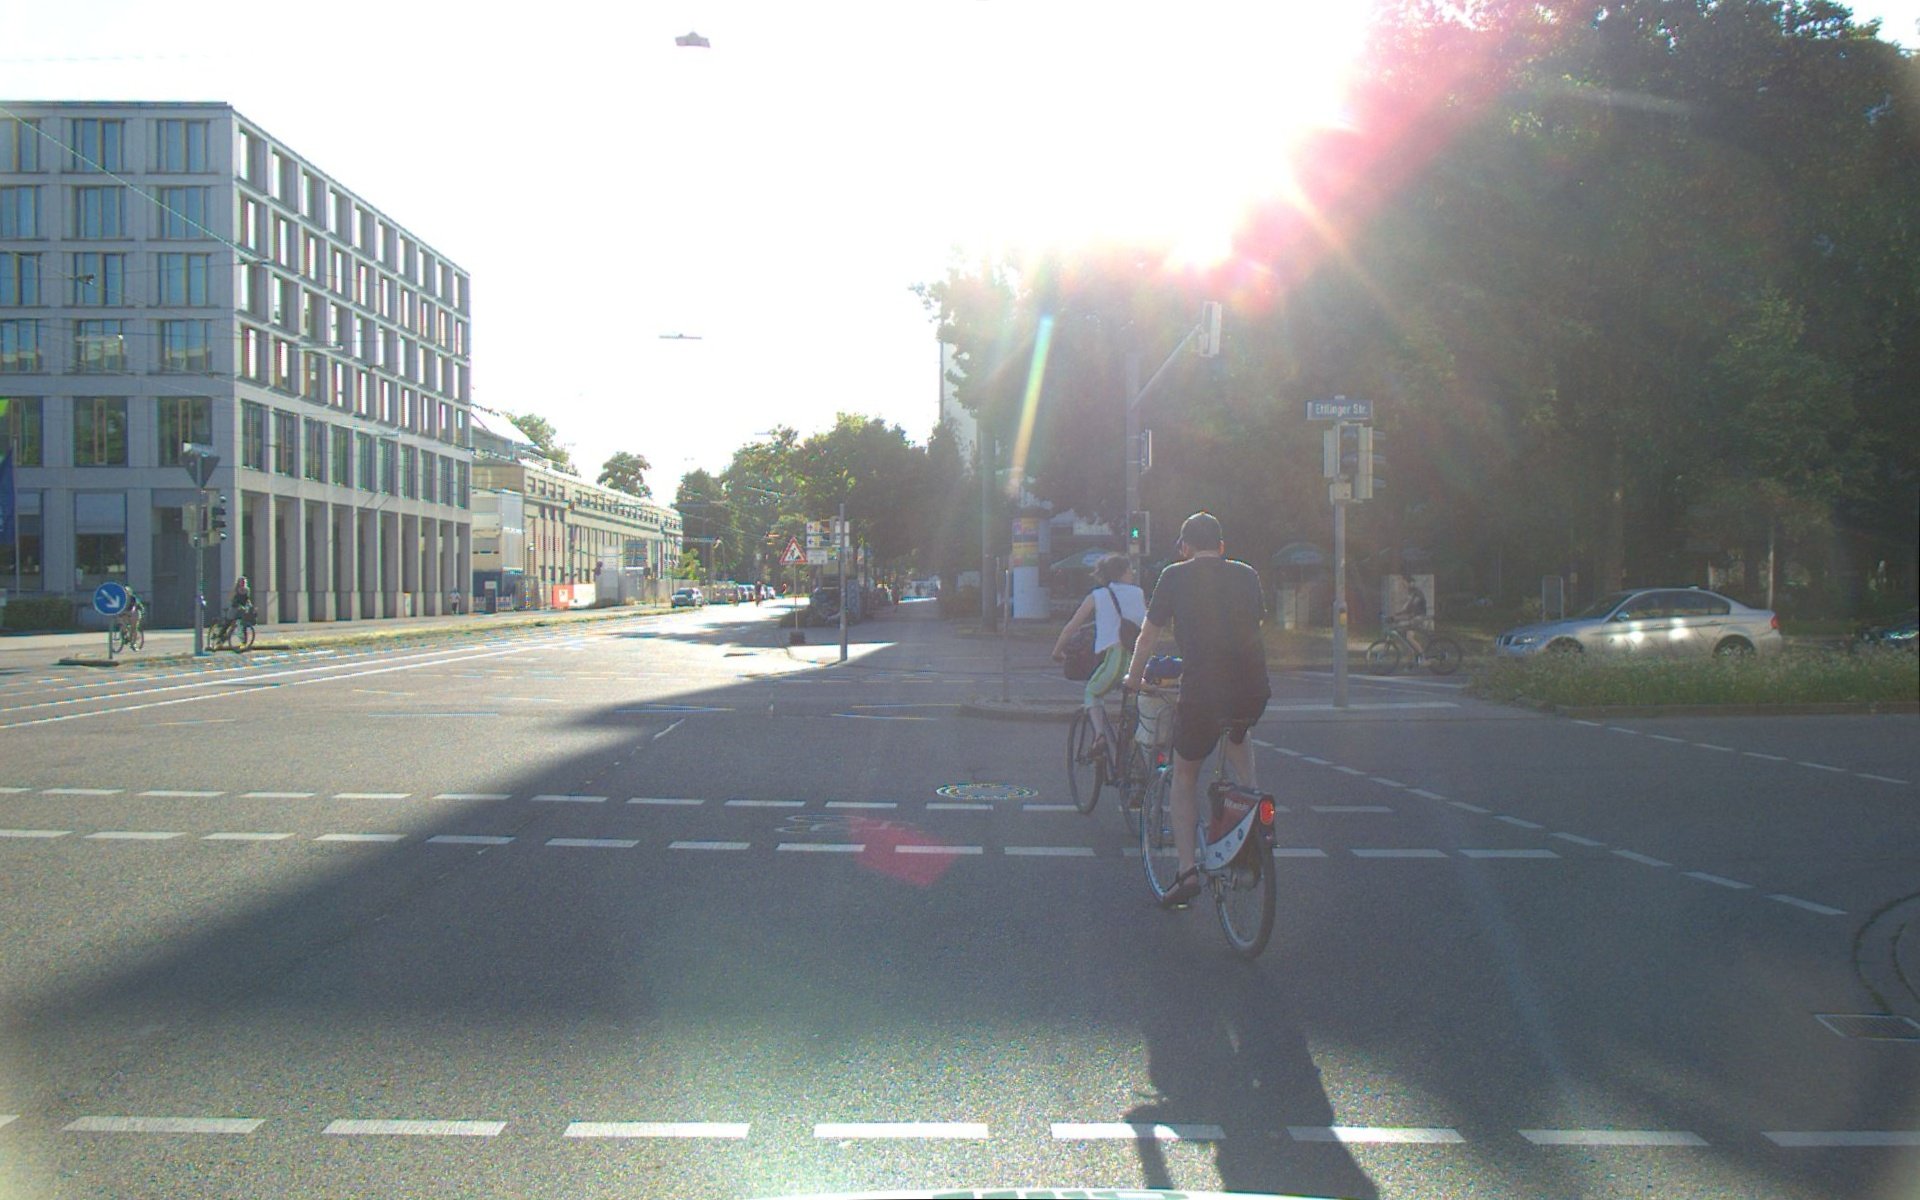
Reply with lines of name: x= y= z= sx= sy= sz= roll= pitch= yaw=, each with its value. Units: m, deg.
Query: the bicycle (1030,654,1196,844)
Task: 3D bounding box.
bicycle: x=0.958 y=0.919 z=10.774 sx=0.572 sy=1.062 sz=1.741 roll=-1 pitch=0 yaw=-13

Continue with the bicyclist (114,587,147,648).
bicyclist: x=-21.129 y=0.447 z=42.135 sx=0.484 sy=1.525 sz=0.666 roll=-1 pitch=0 yaw=2

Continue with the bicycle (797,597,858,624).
bicycle: x=-4.827 y=0.385 z=60.409 sx=2.201 sy=0.956 sz=0.653 roll=-1 pitch=0 yaw=-6

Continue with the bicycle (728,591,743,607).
bicycle: x=-17.019 y=-0.053 z=125.413 sx=0.735 sy=1.226 sz=3.107 roll=1 pitch=0 yaw=-2

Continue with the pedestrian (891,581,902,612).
pedestrian: x=-3.496 y=-0.200 z=90.871 sx=0.566 sy=1.719 sz=0.584 roll=-1 pitch=0 yaw=-8

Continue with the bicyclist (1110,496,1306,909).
bicyclist: x=1.100 y=0.427 z=7.488 sx=0.612 sy=1.745 sz=0.911 roll=-1 pitch=0 yaw=-10

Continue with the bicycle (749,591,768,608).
bicycle: x=-14.596 y=-0.044 z=119.998 sx=0.735 sy=1.226 sz=3.110 roll=1 pitch=0 yaw=5

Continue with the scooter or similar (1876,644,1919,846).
scooter or similar: x=6.321 y=0.861 z=9.999 sx=1.242 sy=1.169 sz=0.575 roll=-1 pitch=1 yaw=-1

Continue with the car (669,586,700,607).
car: x=-21.409 y=-0.263 z=128.729 sx=1.954 sy=1.627 sz=3.997 roll=-1 pitch=0 yaw=-3

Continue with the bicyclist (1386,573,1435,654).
bicyclist: x=8.103 y=0.238 z=29.760 sx=0.731 sy=1.431 sz=0.702 roll=1 pitch=-1 yaw=6

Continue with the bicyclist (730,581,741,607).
bicyclist: x=-17.027 y=-0.416 z=125.507 sx=0.735 sy=1.953 sz=1.214 roll=1 pitch=0 yaw=-2

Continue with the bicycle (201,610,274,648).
bicycle: x=-16.191 y=0.645 z=37.065 sx=1.679 sy=0.837 sz=0.573 roll=0 pitch=0 yaw=27

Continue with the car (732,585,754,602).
car: x=-21.831 y=-0.688 z=166.502 sx=1.954 sy=1.690 sz=3.998 roll=-1 pitch=0 yaw=-3

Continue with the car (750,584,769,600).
car: x=-22.706 y=-0.910 z=187.668 sx=1.954 sy=1.673 sz=3.997 roll=-1 pitch=0 yaw=-4

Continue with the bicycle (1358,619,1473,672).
bicycle: x=8.184 y=0.813 z=29.753 sx=1.902 sy=0.905 sz=0.718 roll=0 pitch=0 yaw=5

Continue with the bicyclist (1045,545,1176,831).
bicyclist: x=0.964 y=0.542 z=10.755 sx=0.574 sy=1.769 sz=0.947 roll=-1 pitch=0 yaw=-13

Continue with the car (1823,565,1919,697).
car: x=16.373 y=0.507 z=26.636 sx=3.905 sy=2.049 sz=2.000 roll=1 pitch=0 yaw=0

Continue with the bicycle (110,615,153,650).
bicycle: x=-21.106 y=0.828 z=42.161 sx=0.484 sy=0.854 sz=1.156 roll=-1 pitch=0 yaw=2

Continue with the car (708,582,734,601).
car: x=-22.100 y=-0.755 z=153.156 sx=1.954 sy=1.690 sz=3.998 roll=-1 pitch=0 yaw=-3

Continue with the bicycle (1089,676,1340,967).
bicycle: x=1.092 y=0.922 z=7.490 sx=0.612 sy=1.062 sz=1.743 roll=-1 pitch=0 yaw=-9

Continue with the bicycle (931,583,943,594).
bicycle: x=-2.668 y=-1.317 z=193.467 sx=0.875 sy=1.240 sz=2.785 roll=1 pitch=0 yaw=-12

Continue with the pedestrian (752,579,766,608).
pedestrian: x=-14.592 y=-0.467 z=120.067 sx=0.735 sy=2.099 sz=1.050 roll=1 pitch=-1 yaw=5

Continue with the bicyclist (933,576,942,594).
bicyclist: x=-2.648 y=-1.733 z=193.445 sx=0.875 sy=2.049 sz=0.746 roll=1 pitch=-1 yaw=-12

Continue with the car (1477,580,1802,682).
car: x=10.995 y=0.498 z=26.989 sx=4.483 sy=1.543 sz=2.000 roll=1 pitch=0 yaw=-1

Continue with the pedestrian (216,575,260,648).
pedestrian: x=-16.180 y=0.248 z=37.059 sx=0.727 sy=1.623 sz=0.573 roll=-1 pitch=0 yaw=26

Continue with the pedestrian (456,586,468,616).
pedestrian: x=-31.929 y=0.092 z=106.091 sx=0.577 sy=1.922 sz=0.477 roll=0 pitch=-1 yaw=31
